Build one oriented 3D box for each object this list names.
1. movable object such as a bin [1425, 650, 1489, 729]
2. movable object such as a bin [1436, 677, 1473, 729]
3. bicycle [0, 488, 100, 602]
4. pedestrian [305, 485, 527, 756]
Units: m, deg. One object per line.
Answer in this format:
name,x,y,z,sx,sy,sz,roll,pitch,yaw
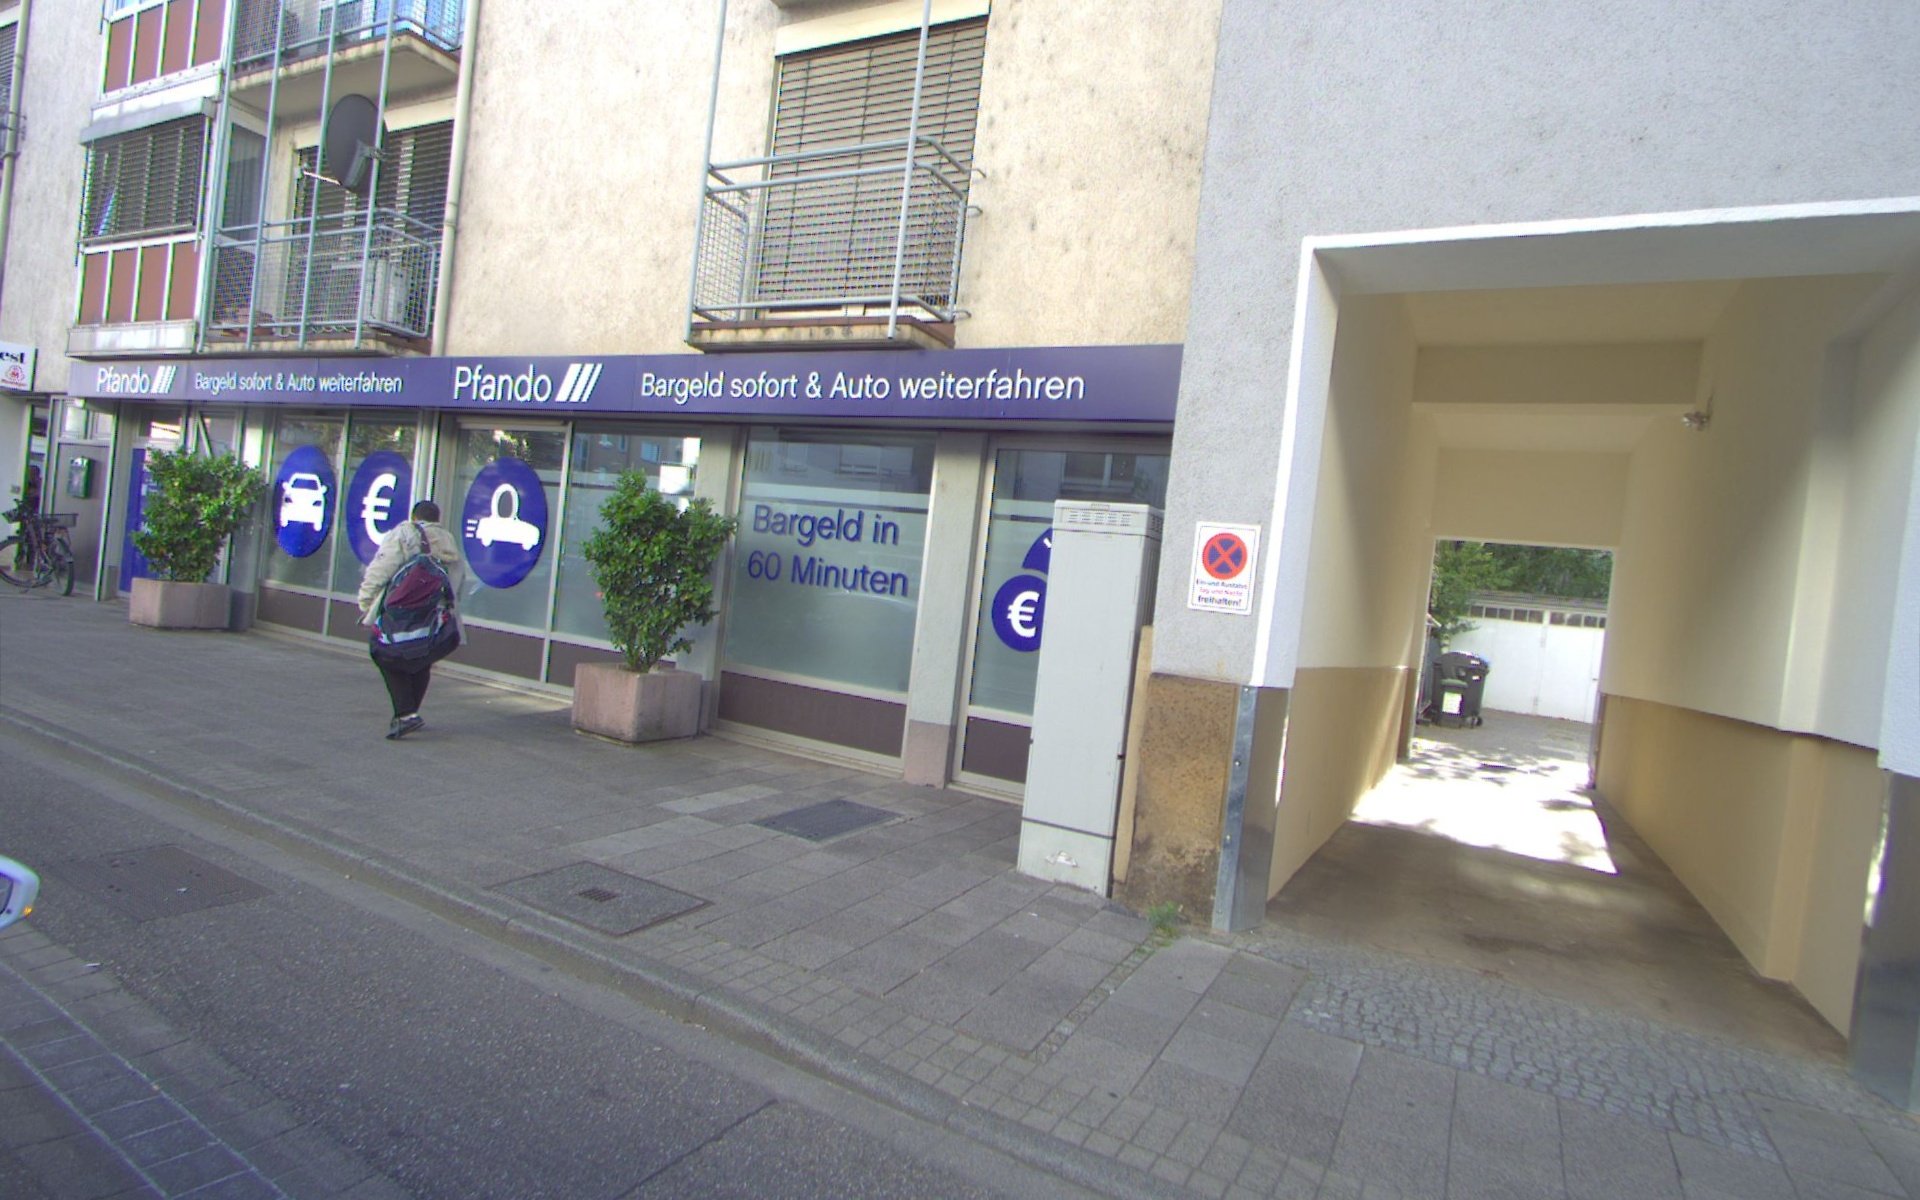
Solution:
movable object such as a bin,10.121,1.790,20.454,0.945,1.426,1.598,7,1,29
movable object such as a bin,9.569,1.982,19.450,0.518,0.922,0.580,7,1,29
bicycle,-11.835,-0.725,12.876,1.879,1.280,0.640,7,1,32
pedestrian,-3.575,0.117,6.640,0.853,1.593,0.874,8,3,29
